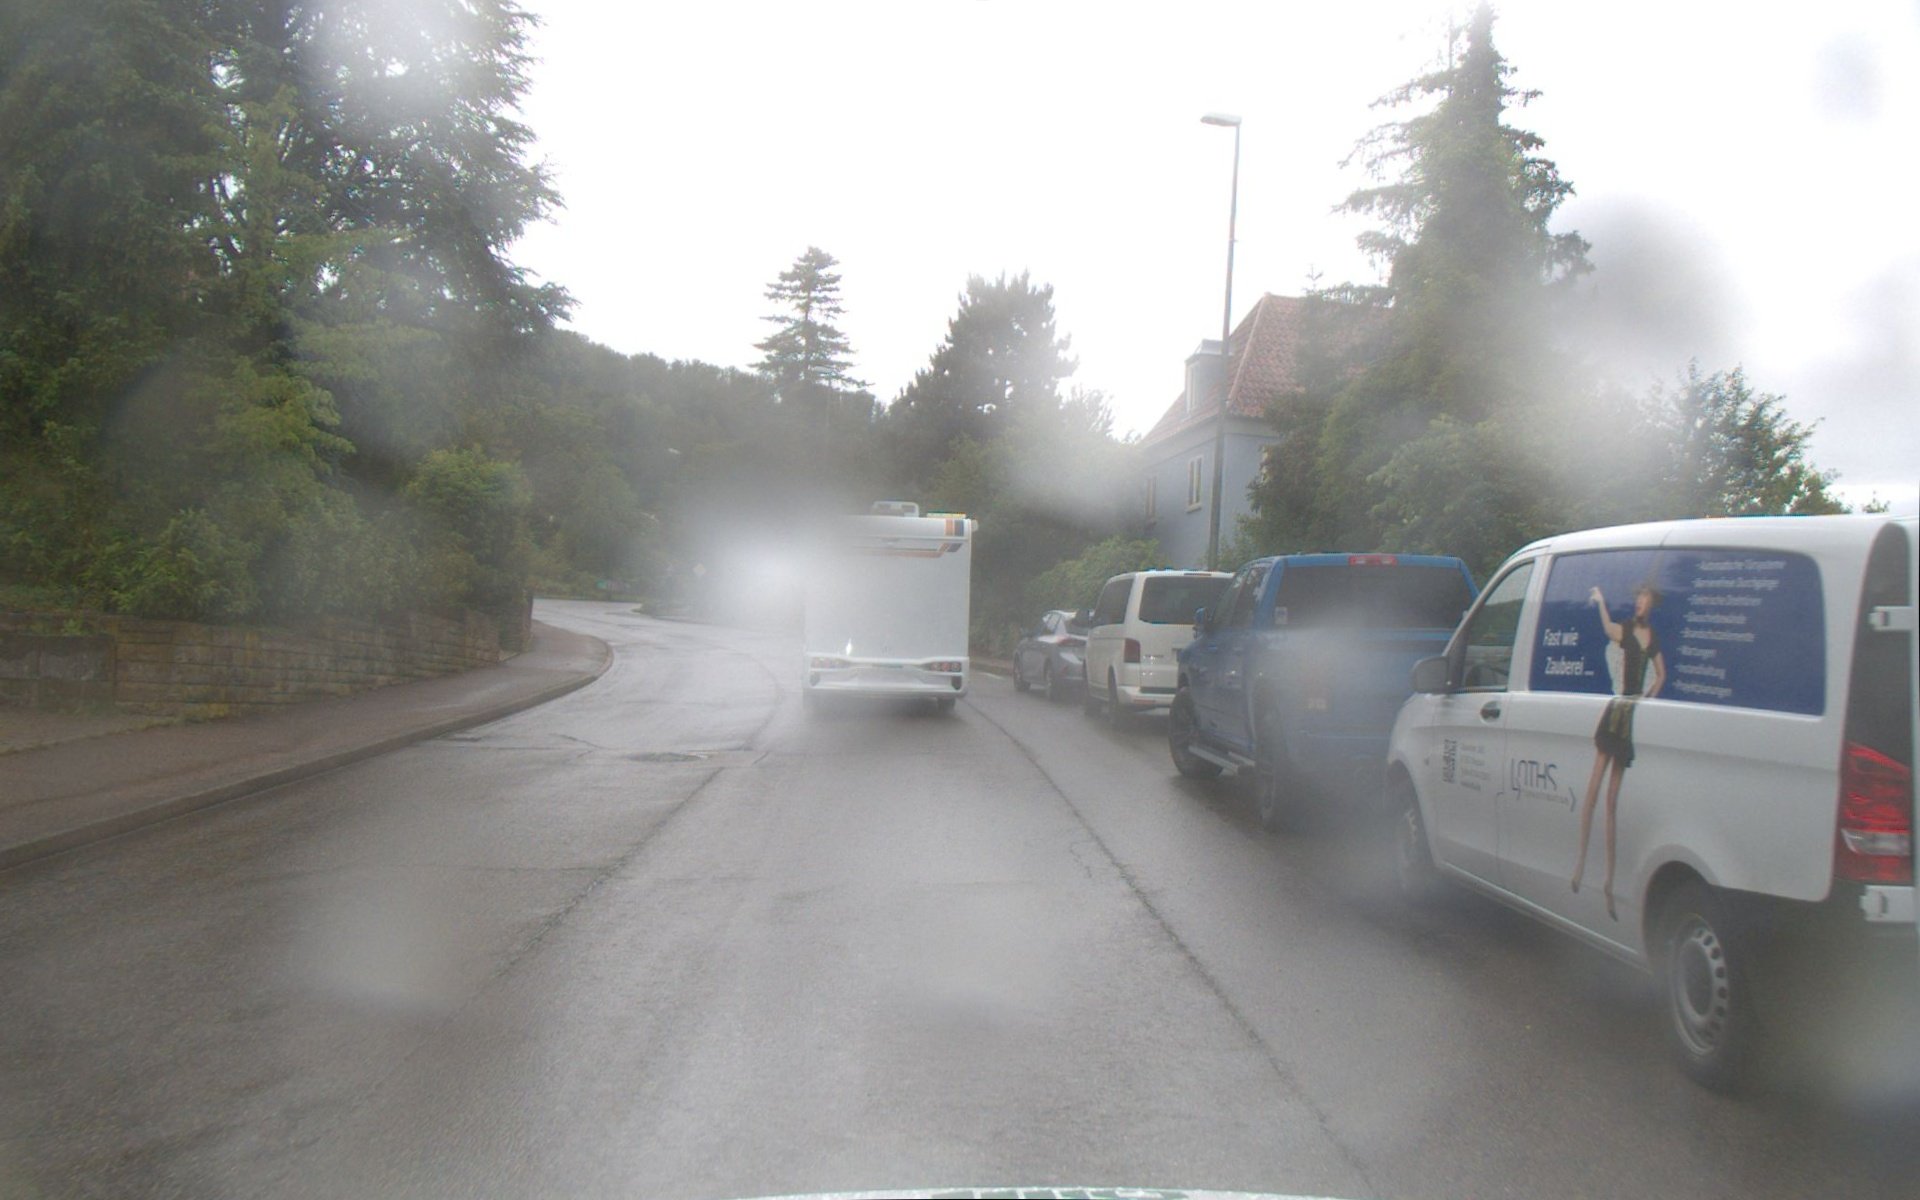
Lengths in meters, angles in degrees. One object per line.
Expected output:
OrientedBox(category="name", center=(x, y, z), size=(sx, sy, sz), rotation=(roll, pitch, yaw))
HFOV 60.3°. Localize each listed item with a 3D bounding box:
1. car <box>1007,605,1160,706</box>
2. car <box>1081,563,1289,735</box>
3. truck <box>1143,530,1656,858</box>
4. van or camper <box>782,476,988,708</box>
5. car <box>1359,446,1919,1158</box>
OrientedBox(category="car", center=(1.989, 0.873, 27.758), size=(1.654, 1.482, 4.049), rotation=(2, 0, -9))
OrientedBox(category="car", center=(2.827, 0.572, 21.938), size=(1.823, 1.954, 5.077), rotation=(2, 0, -2))
OrientedBox(category="truck", center=(3.049, 0.572, 13.363), size=(2.071, 1.884, 6.615), rotation=(3, 0, -2))
OrientedBox(category="van or camper", center=(-1.149, -0.023, 24.523), size=(2.564, 2.903, 6.026), rotation=(3, -2, -4))
OrientedBox(category="car", center=(3.258, 0.536, 7.009), size=(1.790, 1.874, 5.268), rotation=(0, 0, -1))
